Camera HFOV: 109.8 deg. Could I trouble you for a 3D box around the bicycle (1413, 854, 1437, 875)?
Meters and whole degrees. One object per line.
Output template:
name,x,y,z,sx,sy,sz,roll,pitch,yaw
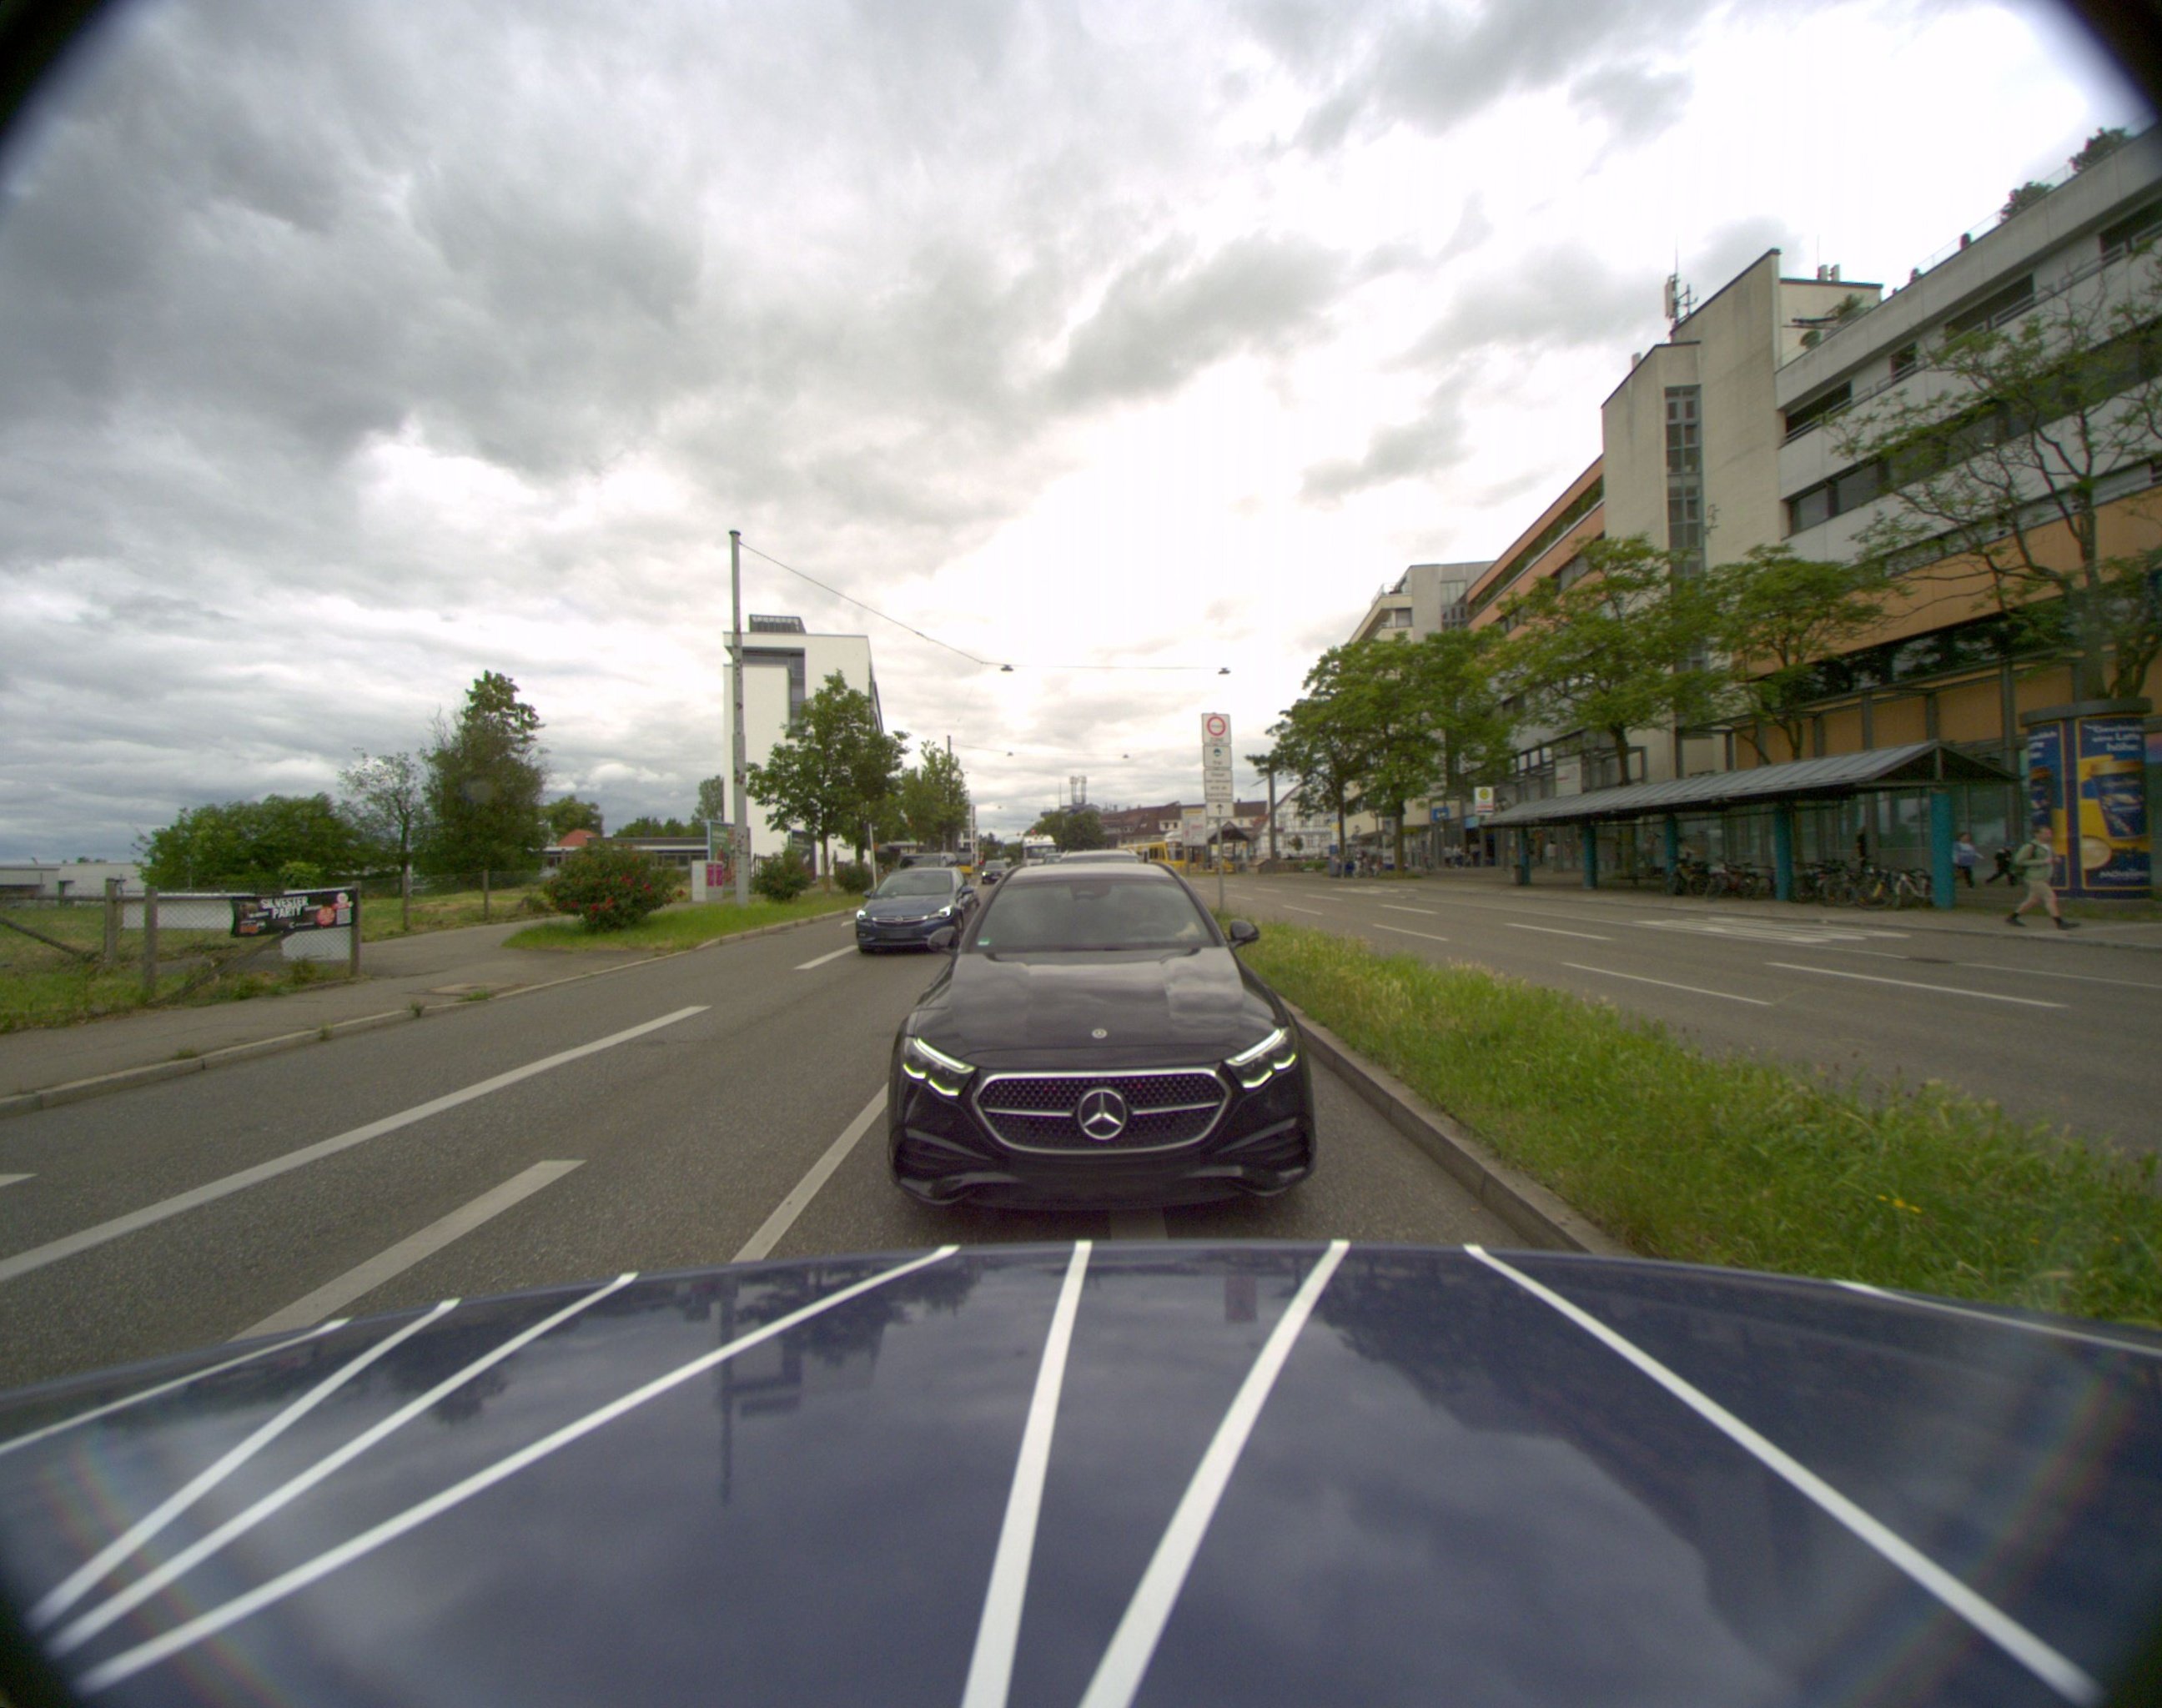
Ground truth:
bicycle,19.156,0.588,42.279,0.672,1.154,2.023,-1,-1,39

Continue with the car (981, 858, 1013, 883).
car,-5.451,1.009,48.846,1.736,1.474,4.365,-2,0,-10

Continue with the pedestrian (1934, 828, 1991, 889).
pedestrian,23.974,0.121,20.672,0.668,1.574,0.706,-3,1,-6

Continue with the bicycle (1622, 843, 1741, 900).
bicycle,17.681,0.509,22.401,2.908,1.498,0.972,-3,0,-8

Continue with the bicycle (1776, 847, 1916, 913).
bicycle,18.381,0.606,18.268,2.908,1.498,0.778,-1,0,-8

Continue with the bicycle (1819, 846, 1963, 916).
bicycle,18.454,0.603,17.323,2.908,1.498,0.700,-1,0,-8

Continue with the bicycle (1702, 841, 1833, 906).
bicycle,18.160,0.504,20.111,2.908,1.498,0.811,-4,0,-7

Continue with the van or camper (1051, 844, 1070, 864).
van or camper,-2.881,0.050,104.324,2.039,2.582,6.112,1,-1,-7

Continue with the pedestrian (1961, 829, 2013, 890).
pedestrian,24.652,0.144,20.683,0.634,1.591,0.622,-3,0,-5

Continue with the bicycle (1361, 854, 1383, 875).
bicycle,16.445,0.578,42.965,0.604,1.154,1.966,-1,-1,4

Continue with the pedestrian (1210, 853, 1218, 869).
pedestrian,13.447,0.729,76.594,0.601,1.564,0.620,-1,0,-10

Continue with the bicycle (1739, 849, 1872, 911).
bicycle,18.310,0.640,19.222,2.908,1.498,0.805,-1,0,-8

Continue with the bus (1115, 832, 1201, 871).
bus,8.049,-0.128,84.470,3.891,3.836,19.323,-1,-1,-12

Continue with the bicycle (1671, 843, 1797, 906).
bicycle,18.024,0.543,21.002,2.908,1.498,0.891,-4,1,-8

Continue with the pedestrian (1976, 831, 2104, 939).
pedestrian,17.101,0.520,13.583,0.705,1.812,1.213,-3,1,-3

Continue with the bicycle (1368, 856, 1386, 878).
bicycle,16.164,0.696,41.525,0.603,1.154,1.693,-1,-1,31

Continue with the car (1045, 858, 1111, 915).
car,-0.074,0.896,22.899,1.735,1.474,4.369,-2,0,0

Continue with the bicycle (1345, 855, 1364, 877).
bicycle,15.336,0.666,42.616,0.603,1.154,1.969,-1,-1,32

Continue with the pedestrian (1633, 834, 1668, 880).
pedestrian,21.690,0.106,28.955,0.774,1.706,0.787,-3,1,17

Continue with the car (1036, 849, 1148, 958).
car,0.190,0.801,14.305,1.735,1.680,4.369,-2,0,0

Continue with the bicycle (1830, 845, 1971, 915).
bicycle,18.485,0.578,17.139,2.908,1.498,0.598,-1,0,-8

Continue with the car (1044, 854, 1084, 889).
car,-0.757,0.806,36.604,1.735,1.544,4.369,-2,0,0

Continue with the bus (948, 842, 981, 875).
bus,-12.541,0.492,81.233,2.993,3.222,9.856,-1,0,-12

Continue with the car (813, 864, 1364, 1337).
car,-0.030,0.906,5.107,1.873,1.542,4.773,-4,-1,-2

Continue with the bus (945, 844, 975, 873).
bus,-14.458,0.603,90.442,3.047,3.216,9.329,-1,-1,-12

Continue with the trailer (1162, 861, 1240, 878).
trailer,10.580,1.356,68.905,2.851,1.325,12.115,-1,-1,-12

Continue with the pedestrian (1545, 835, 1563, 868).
pedestrian,23.887,-0.125,38.402,0.633,1.591,0.623,-3,1,22

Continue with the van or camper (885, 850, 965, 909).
van or camper,-5.516,0.849,27.526,1.809,1.867,4.849,-2,0,0

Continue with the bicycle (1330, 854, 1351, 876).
bicycle,14.793,0.616,43.313,0.603,1.154,1.969,-3,-1,33

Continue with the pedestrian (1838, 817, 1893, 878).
pedestrian,26.561,-0.217,25.746,0.898,2.002,0.934,-1,1,-4

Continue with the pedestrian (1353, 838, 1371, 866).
pedestrian,18.625,-0.135,50.402,0.747,1.866,0.873,-1,0,-8

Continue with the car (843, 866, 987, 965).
car,-2.955,1.032,14.480,1.735,1.474,4.369,-2,0,0
